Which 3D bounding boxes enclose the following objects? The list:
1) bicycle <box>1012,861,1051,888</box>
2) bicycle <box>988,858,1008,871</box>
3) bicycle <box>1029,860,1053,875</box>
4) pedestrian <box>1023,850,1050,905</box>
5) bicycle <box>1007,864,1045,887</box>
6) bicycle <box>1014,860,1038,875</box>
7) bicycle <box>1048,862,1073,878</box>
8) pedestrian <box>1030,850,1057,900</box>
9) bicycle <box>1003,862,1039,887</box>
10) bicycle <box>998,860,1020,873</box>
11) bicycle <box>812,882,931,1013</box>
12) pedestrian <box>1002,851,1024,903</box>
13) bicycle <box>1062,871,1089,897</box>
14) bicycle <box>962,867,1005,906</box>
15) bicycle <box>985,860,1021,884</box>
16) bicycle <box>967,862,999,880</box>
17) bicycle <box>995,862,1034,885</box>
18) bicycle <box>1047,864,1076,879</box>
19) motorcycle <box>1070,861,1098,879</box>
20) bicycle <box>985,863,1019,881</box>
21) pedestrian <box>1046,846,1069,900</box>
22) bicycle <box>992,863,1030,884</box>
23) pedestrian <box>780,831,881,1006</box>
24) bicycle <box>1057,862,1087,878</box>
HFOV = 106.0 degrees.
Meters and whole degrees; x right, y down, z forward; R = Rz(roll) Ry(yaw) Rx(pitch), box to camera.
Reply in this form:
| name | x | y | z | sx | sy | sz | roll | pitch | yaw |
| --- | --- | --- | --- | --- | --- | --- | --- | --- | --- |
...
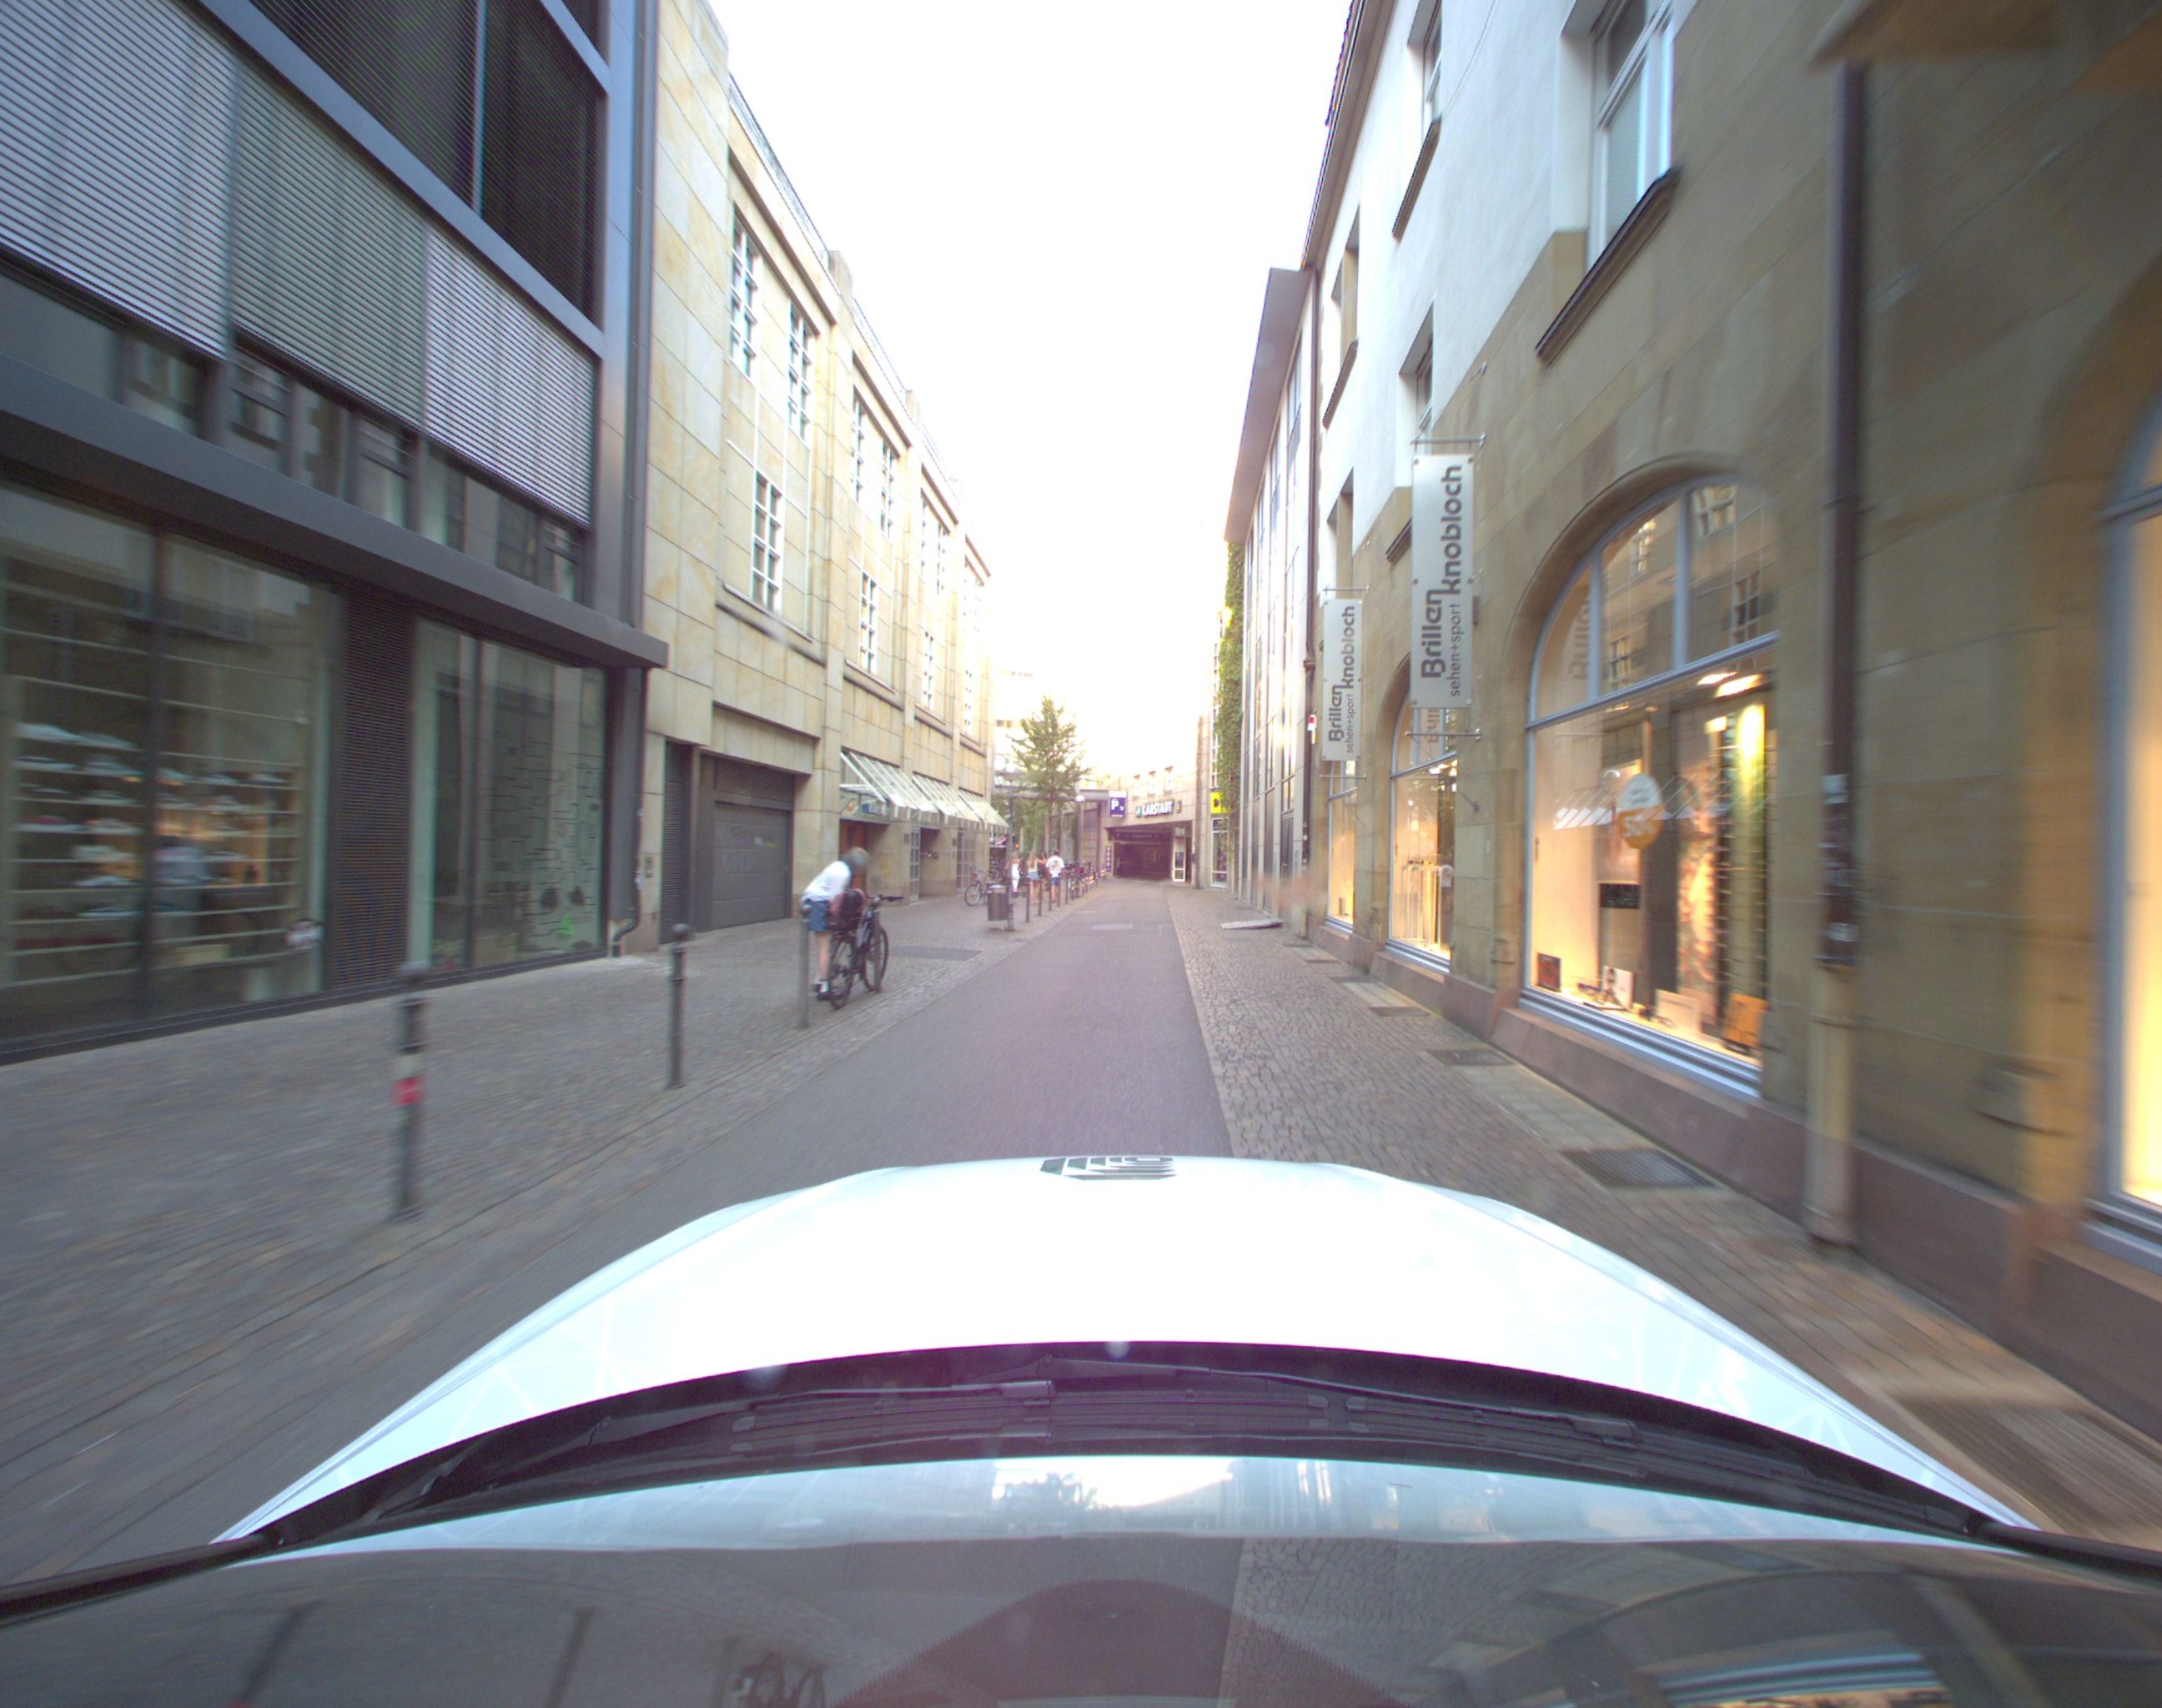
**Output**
| name | x | y | z | sx | sy | sz | roll | pitch | yaw |
| --- | --- | --- | --- | --- | --- | --- | --- | --- | --- |
| bicycle | -2.313 | 0.949 | 38.255 | 1.771 | 1.231 | 0.531 | 0 | 0 | -18 |
| bicycle | -7.584 | 0.993 | 74.417 | 1.777 | 1.190 | 0.583 | 0 | 0 | -16 |
| bicycle | -2.995 | 0.981 | 60.825 | 1.777 | 1.114 | 0.540 | 0 | 0 | -16 |
| pedestrian | -1.430 | 0.754 | 26.399 | 0.804 | 1.729 | 0.948 | 1 | 0 | -1 |
| bicycle | -2.734 | 1.039 | 40.462 | 1.841 | 1.122 | 0.531 | 0 | 0 | -18 |
| bicycle | -4.249 | 1.053 | 63.176 | 1.777 | 1.114 | 0.540 | 0 | 0 | -16 |
| bicycle | -1.356 | 1.047 | 53.831 | 1.542 | 1.049 | 0.572 | 0 | 0 | -16 |
| pedestrian | -1.355 | 0.747 | 29.454 | 0.780 | 1.795 | 0.974 | 0 | 0 | 8 |
| bicycle | -2.921 | 0.992 | 39.580 | 1.658 | 1.231 | 0.531 | 0 | 0 | -18 |
| bicycle | -6.133 | 1.039 | 69.104 | 1.775 | 1.114 | 0.540 | 0 | 0 | -14 |
| bicycle | -2.164 | 0.921 | 8.678 | 0.530 | 1.153 | 1.918 | 2 | 0 | 6 |
| pedestrian | -2.198 | 0.736 | 26.458 | 0.674 | 1.664 | 0.859 | 1 | 0 | -6 |
| bicycle | -0.202 | 1.165 | 31.637 | 0.489 | 0.939 | 1.667 | 2 | 0 | 20 |
| bicycle | -2.966 | 0.975 | 24.992 | 0.517 | 1.138 | 1.773 | 0 | 0 | 21 |
| bicycle | -4.077 | 0.928 | 42.722 | 1.838 | 1.225 | 0.531 | 0 | 0 | -18 |
| bicycle | -5.814 | 1.003 | 48.405 | 1.829 | 1.043 | 0.531 | 0 | 0 | -18 |
| bicycle | -3.382 | 0.981 | 41.465 | 1.877 | 1.177 | 0.531 | 0 | 0 | -18 |
| bicycle | -1.254 | 1.130 | 52.745 | 1.777 | 0.904 | 0.461 | 0 | 0 | -16 |
| motorcycle | 0.170 | 0.987 | 50.285 | 1.666 | 1.050 | 0.461 | 0 | 0 | -16 |
| bicycle | -4.521 | 1.016 | 46.551 | 1.882 | 1.043 | 0.531 | 0 | 0 | -18 |
| pedestrian | -0.839 | 0.657 | 28.354 | 0.741 | 1.822 | 0.876 | 0 | 0 | -5 |
| bicycle | -3.616 | 1.013 | 42.013 | 1.899 | 1.052 | 0.531 | 0 | 0 | -18 |
| pedestrian | -2.591 | 0.644 | 8.485 | 0.764 | 1.718 | 0.592 | 2 | 0 | 4 |
| bicycle | -0.564 | 1.003 | 51.968 | 1.852 | 0.982 | 0.461 | 0 | 0 | -16 |
